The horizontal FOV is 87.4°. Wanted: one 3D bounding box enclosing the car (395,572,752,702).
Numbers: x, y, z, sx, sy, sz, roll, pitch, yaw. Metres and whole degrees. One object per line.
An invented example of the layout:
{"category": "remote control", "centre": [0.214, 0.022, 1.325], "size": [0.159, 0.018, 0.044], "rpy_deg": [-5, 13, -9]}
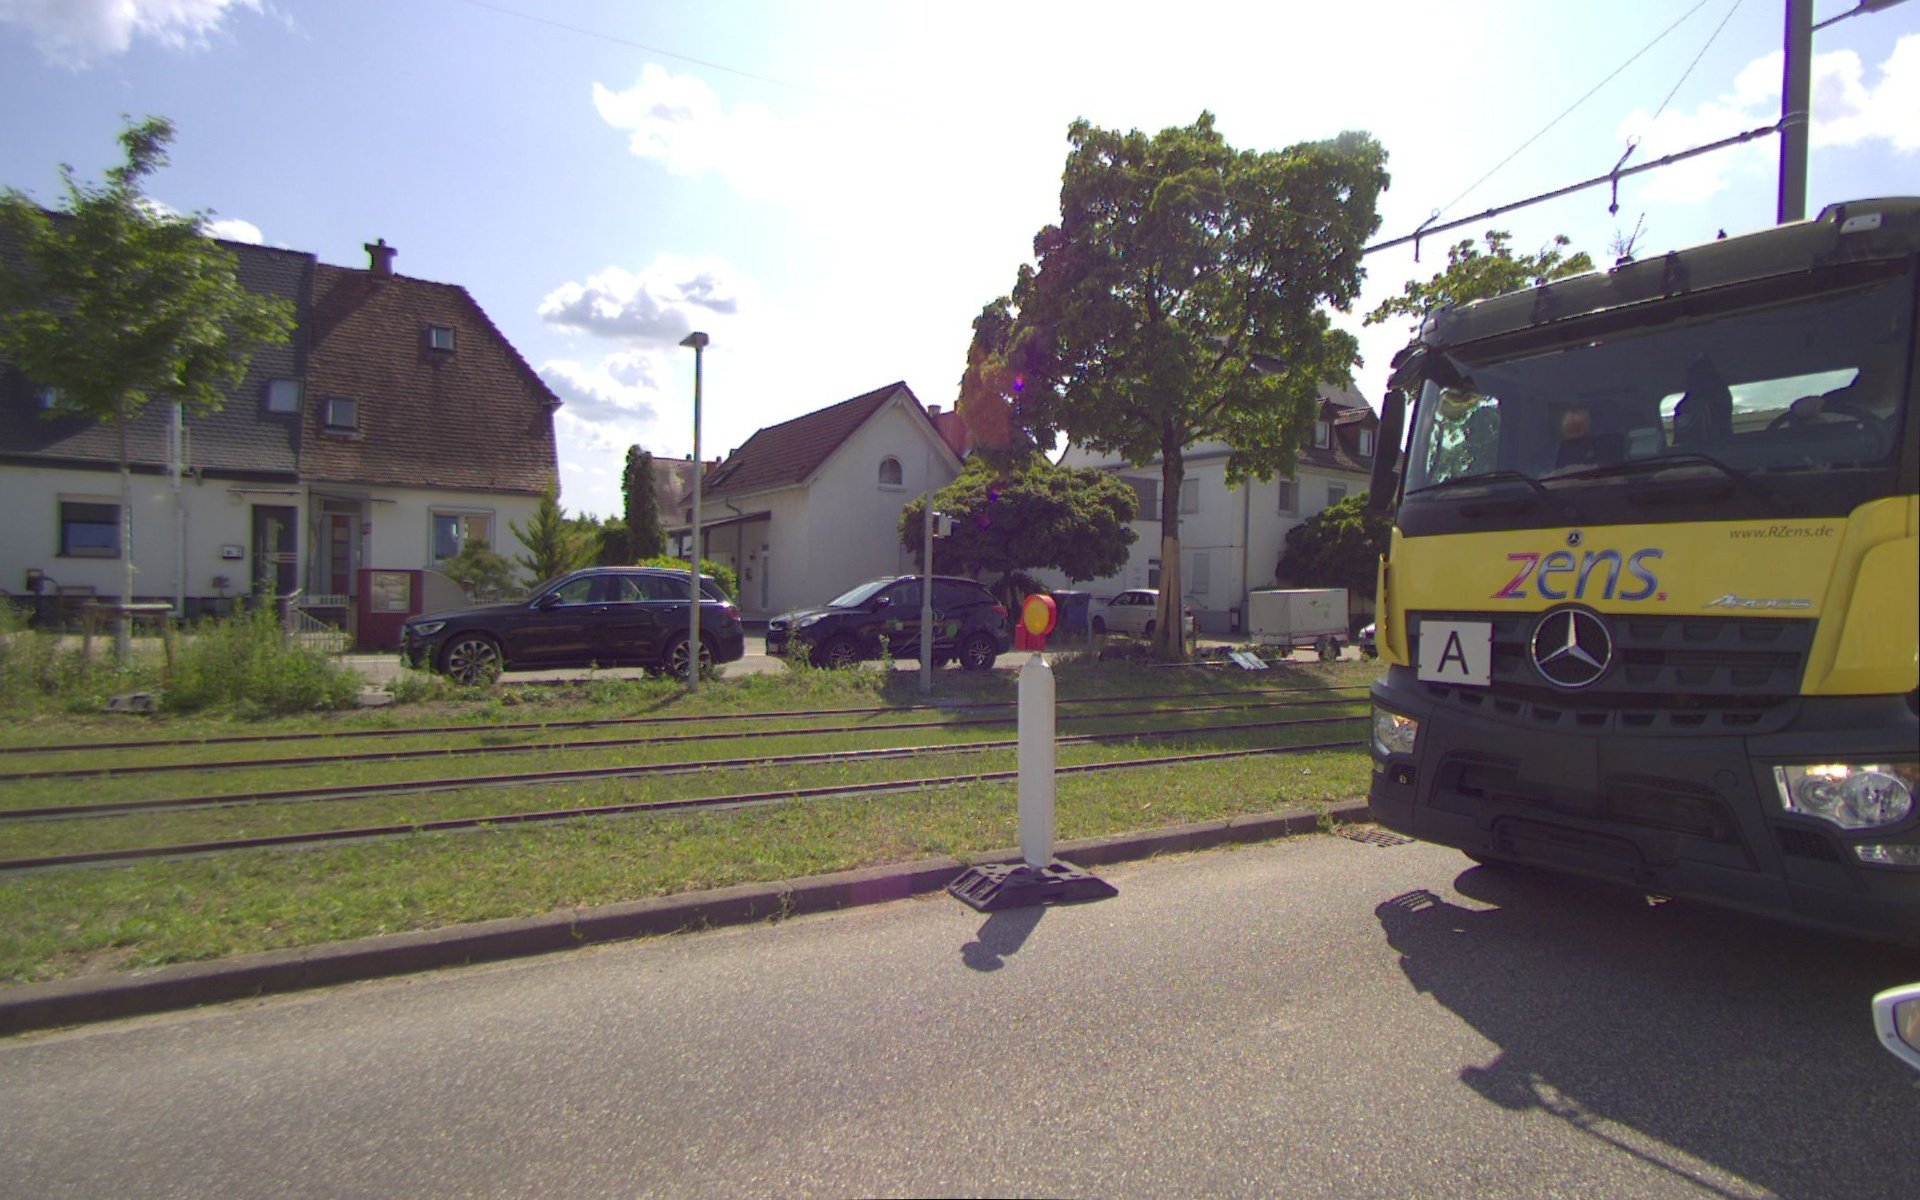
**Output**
{"category": "car", "centre": [-5.435, 0.499, 14.335], "size": [4.518, 1.607, 1.801], "rpy_deg": [1, -1, -33]}

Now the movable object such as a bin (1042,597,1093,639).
{"category": "movable object such as a bin", "centre": [3.510, 0.579, 32.862], "size": [1.076, 1.346, 1.352], "rpy_deg": [1, 0, -31]}

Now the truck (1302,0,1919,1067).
{"category": "truck", "centre": [5.489, -0.160, 6.225], "size": [7.071, 3.505, 2.546], "rpy_deg": [1, -1, -32]}

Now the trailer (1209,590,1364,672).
{"category": "trailer", "centre": [7.352, 0.672, 22.565], "size": [3.337, 1.700, 1.556], "rpy_deg": [1, 1, -33]}

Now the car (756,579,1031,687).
{"category": "car", "centre": [-1.091, 0.549, 17.375], "size": [4.516, 1.659, 1.686], "rpy_deg": [1, -1, -32]}

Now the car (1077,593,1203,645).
{"category": "car", "centre": [5.809, 0.581, 32.829], "size": [1.777, 1.592, 3.960], "rpy_deg": [1, 0, -35]}

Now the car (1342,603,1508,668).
{"category": "car", "centre": [11.938, 0.887, 25.713], "size": [4.518, 1.525, 1.719], "rpy_deg": [1, -1, -33]}
